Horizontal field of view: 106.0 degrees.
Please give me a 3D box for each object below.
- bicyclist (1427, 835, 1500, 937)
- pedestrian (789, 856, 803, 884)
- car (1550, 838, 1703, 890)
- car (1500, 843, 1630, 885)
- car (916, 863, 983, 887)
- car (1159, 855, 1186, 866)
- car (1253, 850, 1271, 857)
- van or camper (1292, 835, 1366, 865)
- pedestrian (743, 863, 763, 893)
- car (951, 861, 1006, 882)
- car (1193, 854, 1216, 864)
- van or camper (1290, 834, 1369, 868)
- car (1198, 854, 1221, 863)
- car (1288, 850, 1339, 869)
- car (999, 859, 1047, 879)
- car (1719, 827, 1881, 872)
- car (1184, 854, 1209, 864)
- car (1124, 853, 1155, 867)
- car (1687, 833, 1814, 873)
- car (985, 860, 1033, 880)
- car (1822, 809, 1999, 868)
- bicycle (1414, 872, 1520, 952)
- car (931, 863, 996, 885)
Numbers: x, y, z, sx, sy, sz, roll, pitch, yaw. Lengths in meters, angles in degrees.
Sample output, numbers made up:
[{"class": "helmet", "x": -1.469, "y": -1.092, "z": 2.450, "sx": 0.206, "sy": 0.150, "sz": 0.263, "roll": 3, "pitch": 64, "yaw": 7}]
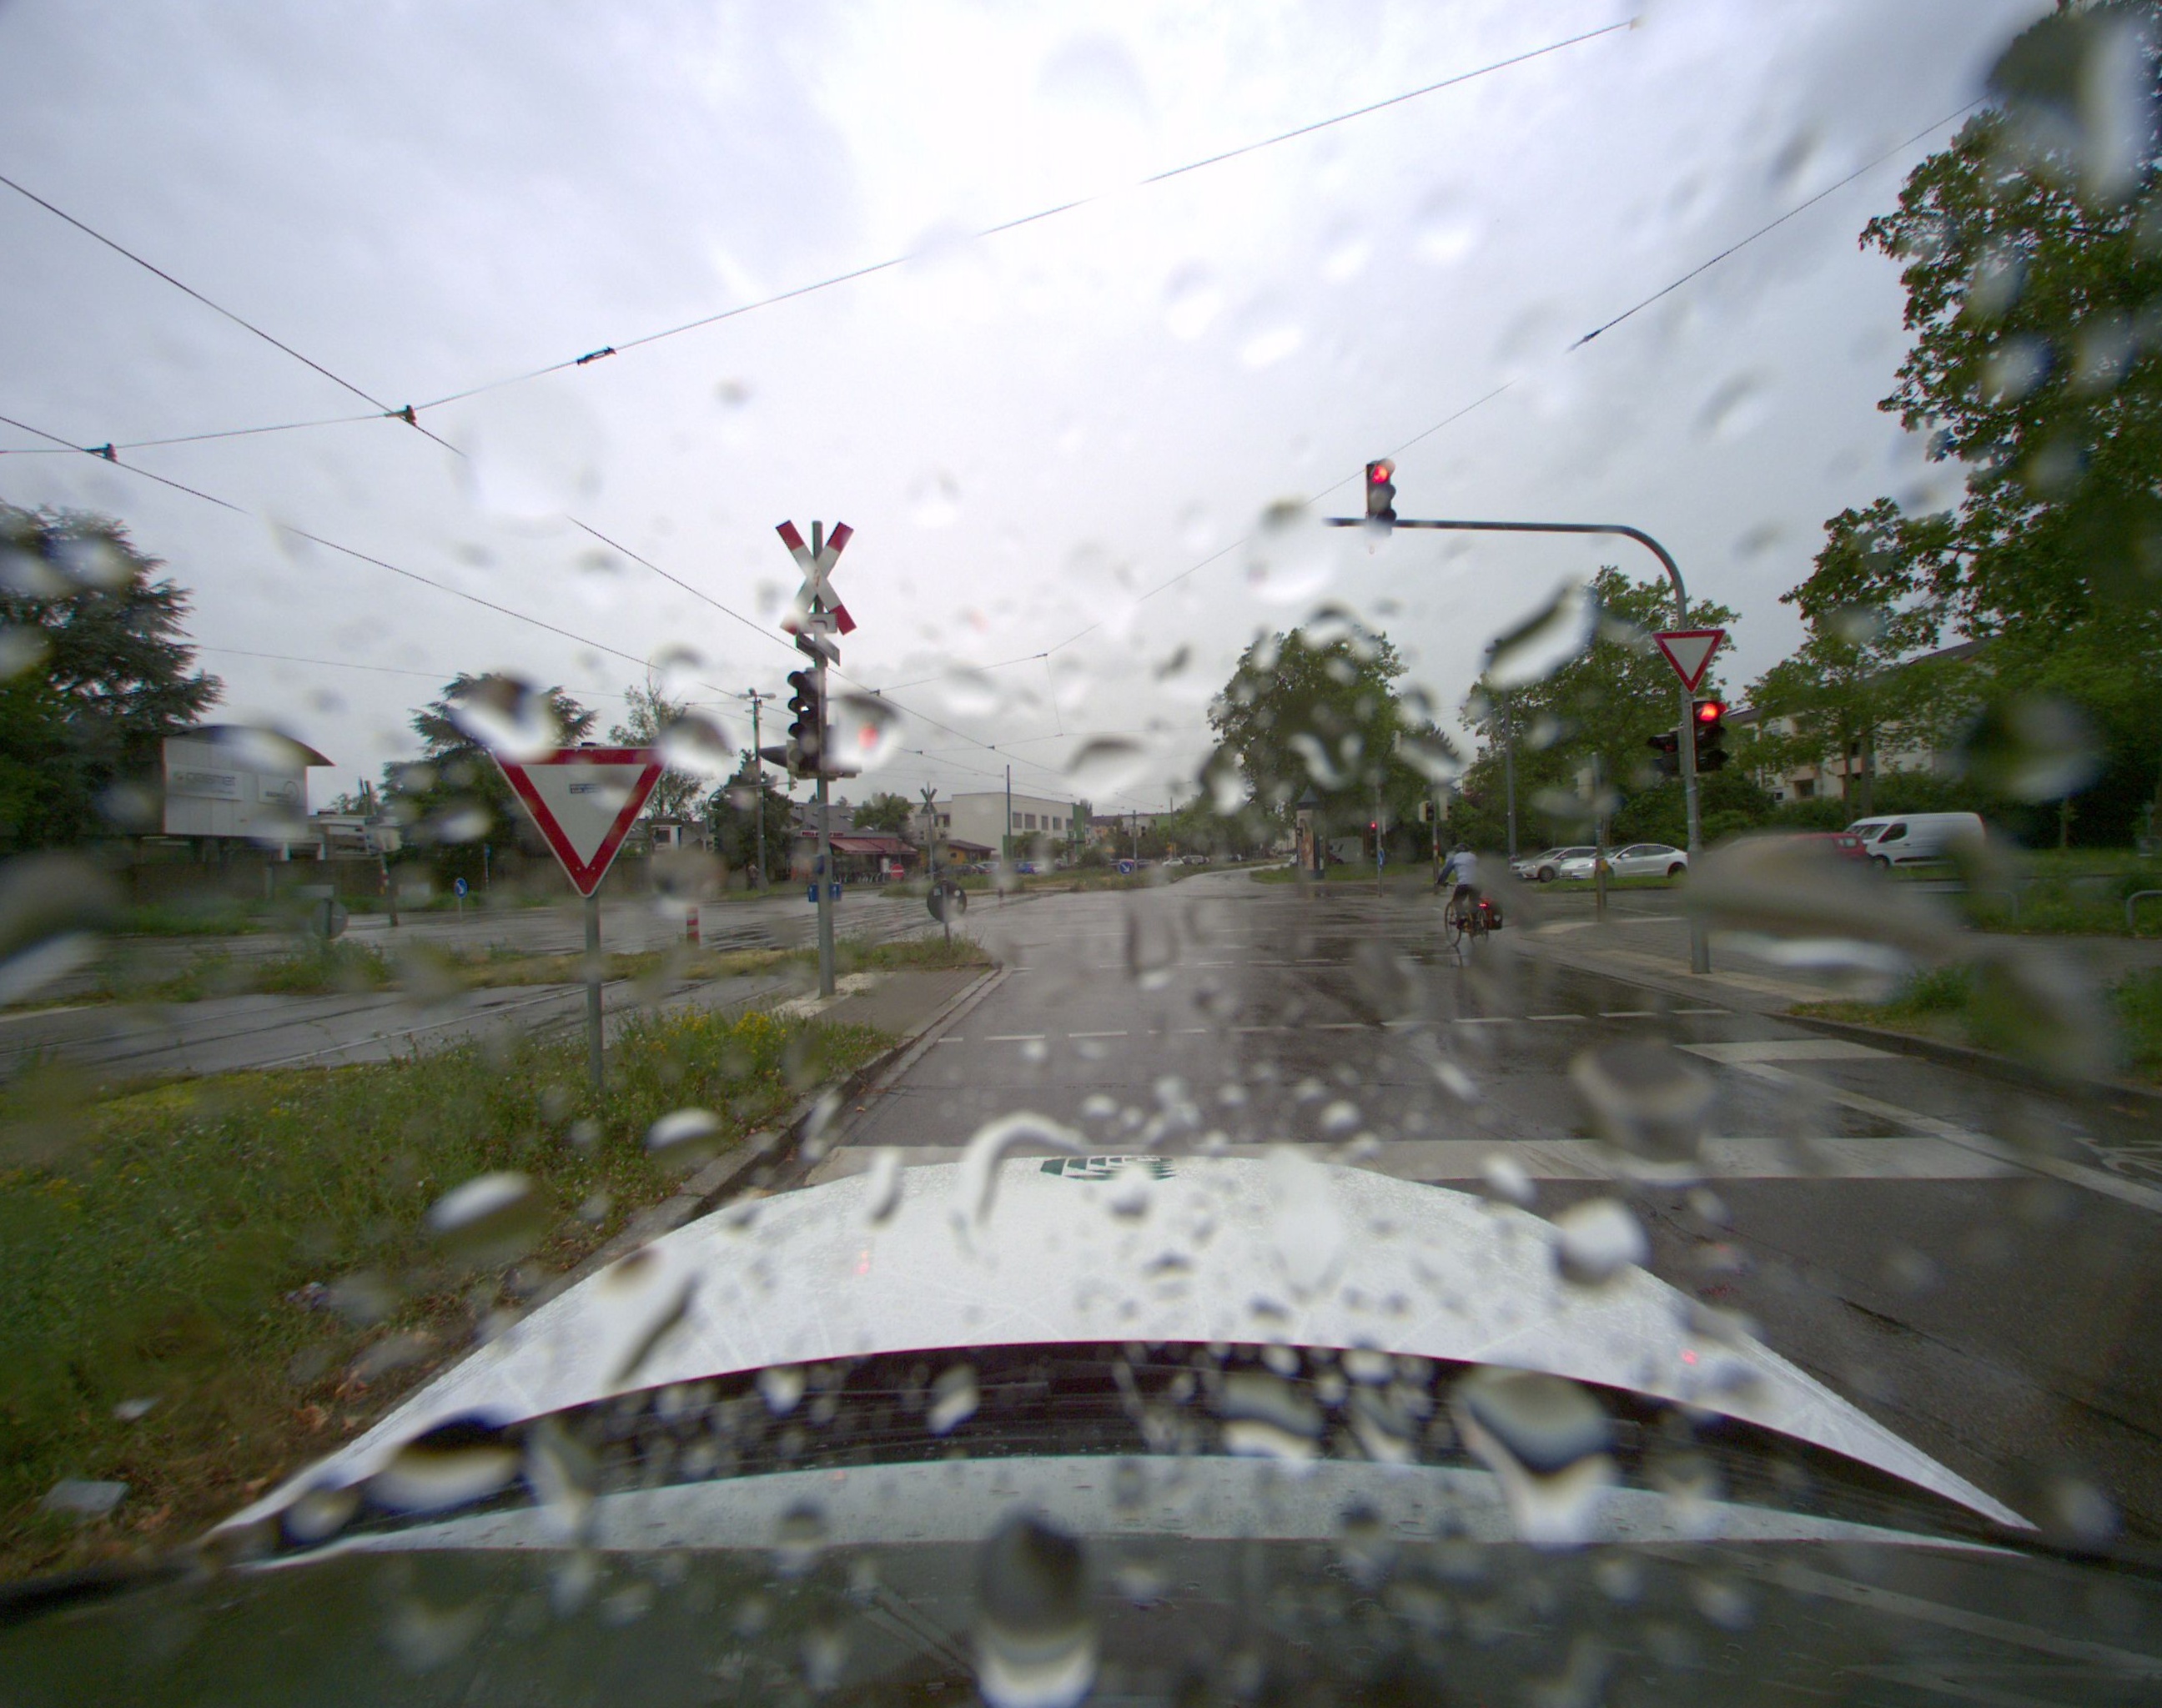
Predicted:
[{"class": "bicyclist", "x": 5.835, "y": 0.475, "z": 12.465, "sx": 0.688, "sy": 1.506, "sz": 0.844, "roll": -1, "pitch": -1, "yaw": -1}, {"class": "pedestrian", "x": -20.979, "y": 1.174, "z": 59.916, "sx": 0.721, "sy": 2.014, "sz": 0.794, "roll": 0, "pitch": -1, "yaw": -2}, {"class": "car", "x": 20.477, "y": 0.367, "z": 30.686, "sx": 4.585, "sy": 1.828, "sz": 1.931, "roll": 0, "pitch": -1, "yaw": -5}, {"class": "car", "x": 20.168, "y": 0.417, "z": 34.049, "sx": 4.385, "sy": 1.691, "sz": 1.931, "roll": 0, "pitch": -1, "yaw": -5}, {"class": "car", "x": -9.556, "y": 1.515, "z": 59.378, "sx": 4.459, "sy": 1.418, "sz": 1.860, "roll": -3, "pitch": -1, "yaw": 3}, {"class": "car", "x": 14.237, "y": 1.030, "z": 126.527, "sx": 3.772, "sy": 1.702, "sz": 1.832, "roll": 0, "pitch": -1, "yaw": -8}, {"class": "car", "x": 44.057, "y": -0.122, "z": 197.913, "sx": 3.977, "sy": 1.832, "sz": 1.998, "roll": 0, "pitch": -1, "yaw": -3}, {"class": "van or camper", "x": 27.218, "y": -0.425, "z": 89.261, "sx": 7.359, "sy": 3.178, "sz": 3.281, "roll": -1, "pitch": -1, "yaw": 24}, {"class": "pedestrian", "x": -19.934, "y": 1.441, "z": 49.459, "sx": 0.720, "sy": 1.797, "sz": 0.889, "roll": 0, "pitch": 0, "yaw": 12}, {"class": "car", "x": -8.173, "y": 1.392, "z": 65.147, "sx": 3.966, "sy": 1.582, "sz": 1.862, "roll": -2, "pitch": -1, "yaw": 6}, {"class": "car", "x": 23.243, "y": 0.878, "z": 153.526, "sx": 3.986, "sy": 1.832, "sz": 1.994, "roll": 0, "pitch": -1, "yaw": -10}, {"class": "van or camper", "x": 24.500, "y": -0.226, "z": 80.164, "sx": 7.261, "sy": 3.178, "sz": 3.278, "roll": -1, "pitch": -1, "yaw": 20}, {"class": "car", "x": 24.980, "y": 0.906, "z": 158.557, "sx": 3.977, "sy": 1.832, "sz": 1.998, "roll": 0, "pitch": -1, "yaw": -3}, {"class": "car", "x": 22.011, "y": 0.510, "z": 77.237, "sx": 4.405, "sy": 1.717, "sz": 2.011, "roll": -1, "pitch": -1, "yaw": 23}, {"class": "car", "x": -5.220, "y": 1.361, "z": 73.210, "sx": 4.112, "sy": 1.641, "sz": 1.922, "roll": -1, "pitch": -1, "yaw": -12}, {"class": "car", "x": 26.986, "y": -0.152, "z": 30.667, "sx": 4.589, "sy": 1.607, "sz": 1.790, "roll": 0, "pitch": -1, "yaw": -1}, {"class": "car", "x": 20.423, "y": 0.862, "z": 144.610, "sx": 3.986, "sy": 1.759, "sz": 2.004, "roll": 0, "pitch": -1, "yaw": -10}, {"class": "car", "x": 7.874, "y": 0.851, "z": 110.010, "sx": 3.980, "sy": 1.887, "sz": 1.997, "roll": 0, "pitch": -1, "yaw": -5}, {"class": "car", "x": 28.255, "y": -0.038, "z": 34.421, "sx": 4.048, "sy": 1.607, "sz": 1.788, "roll": 0, "pitch": -1, "yaw": -5}, {"class": "car", "x": -6.226, "y": 1.370, "z": 70.069, "sx": 3.986, "sy": 1.582, "sz": 1.924, "roll": -2, "pitch": -1, "yaw": -9}, {"class": "car", "x": 35.086, "y": -0.621, "z": 34.560, "sx": 5.589, "sy": 2.392, "sz": 1.999, "roll": 0, "pitch": -1, "yaw": -2}, {"class": "bicycle", "x": 5.842, "y": 0.839, "z": 12.454, "sx": 0.688, "sy": 1.117, "sz": 1.884, "roll": -1, "pitch": -1, "yaw": -1}, {"class": "car", "x": -8.866, "y": 1.513, "z": 61.771, "sx": 4.478, "sy": 1.418, "sz": 1.860, "roll": -3, "pitch": -1, "yaw": 3}]
